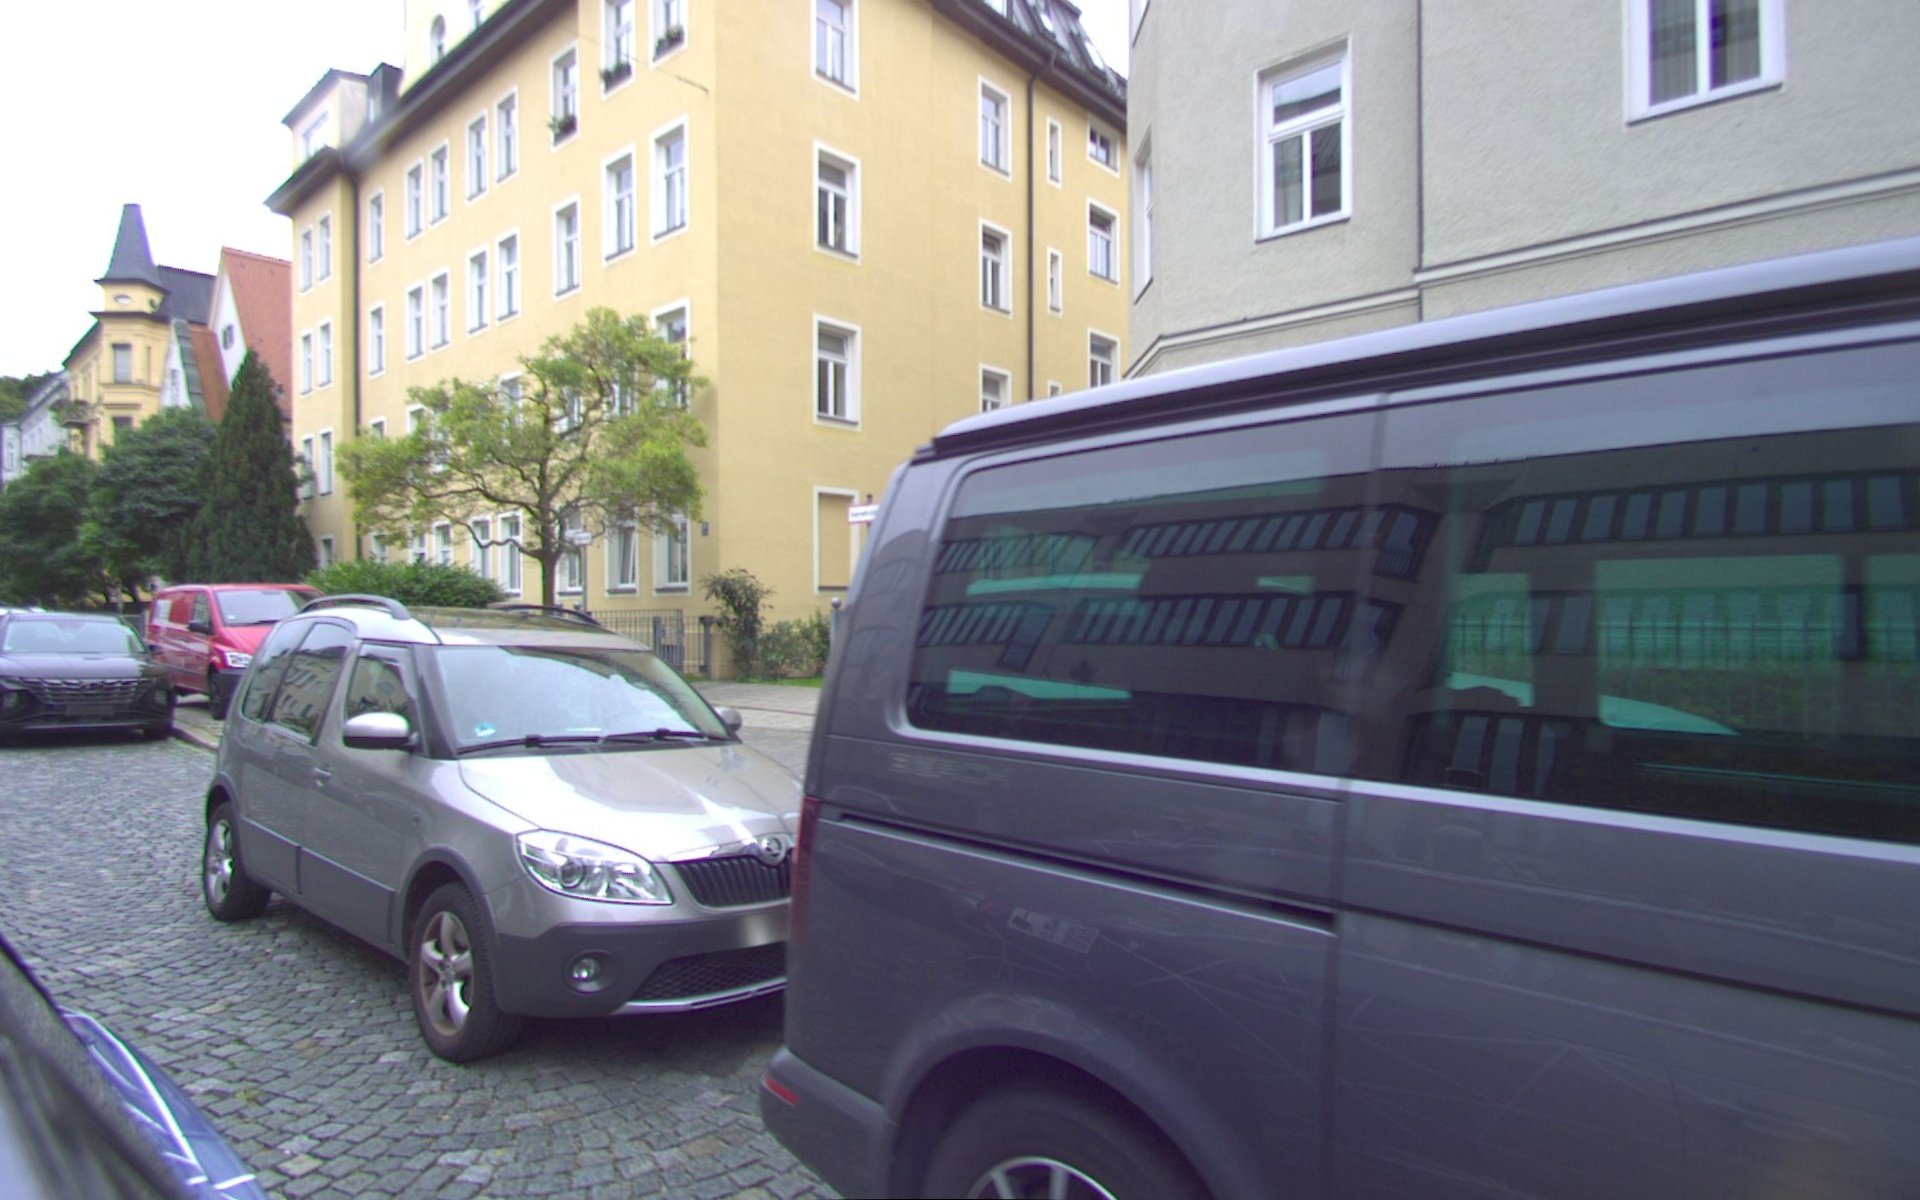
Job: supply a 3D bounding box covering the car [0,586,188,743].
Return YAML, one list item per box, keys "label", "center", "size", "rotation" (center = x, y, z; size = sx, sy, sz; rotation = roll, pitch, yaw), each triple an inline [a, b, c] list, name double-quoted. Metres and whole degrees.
- label: "car"
  center: [-12.047, 0.799, 13.443]
  size: [4.754, 1.748, 1.897]
  rotation: [-1, -5, 42]

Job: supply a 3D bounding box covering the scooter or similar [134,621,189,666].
- label: "scooter or similar"
  center: [-23.058, 1.231, 29.216]
  size: [1.522, 1.209, 0.946]
  rotation: [-1, 2, 41]

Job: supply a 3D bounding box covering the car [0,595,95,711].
- label: "car"
  center: [-16.964, 0.871, 17.788]
  size: [5.173, 1.823, 1.985]
  rotation: [-1, -2, 42]

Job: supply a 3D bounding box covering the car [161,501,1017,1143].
- label: "car"
  center: [-2.047, 0.672, 4.885]
  size: [4.398, 1.748, 1.847]
  rotation: [-1, -3, 39]

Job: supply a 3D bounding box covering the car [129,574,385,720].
- label: "car"
  center: [-11.231, 0.647, 15.998]
  size: [5.326, 1.945, 1.974]
  rotation: [-1, 1, 40]

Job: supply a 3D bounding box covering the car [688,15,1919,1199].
- label: "car"
  center: [1.857, 0.437, 1.323]
  size: [4.824, 1.932, 1.854]
  rotation: [-1, -3, 40]

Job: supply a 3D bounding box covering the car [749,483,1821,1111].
- label: "car"
  center: [1.207, 0.535, 5.052]
  size: [4.654, 1.748, 1.925]
  rotation: [-1, 2, 40]

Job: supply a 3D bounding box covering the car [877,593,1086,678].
- label: "car"
  center: [0.499, 0.630, 19.234]
  size: [1.833, 1.434, 4.025]
  rotation: [-1, -1, 41]

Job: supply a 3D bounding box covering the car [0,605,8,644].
- label: "car"
  center: [-41.145, 1.040, 42.109]
  size: [4.464, 1.548, 1.722]
  rotation: [-1, 1, 40]
